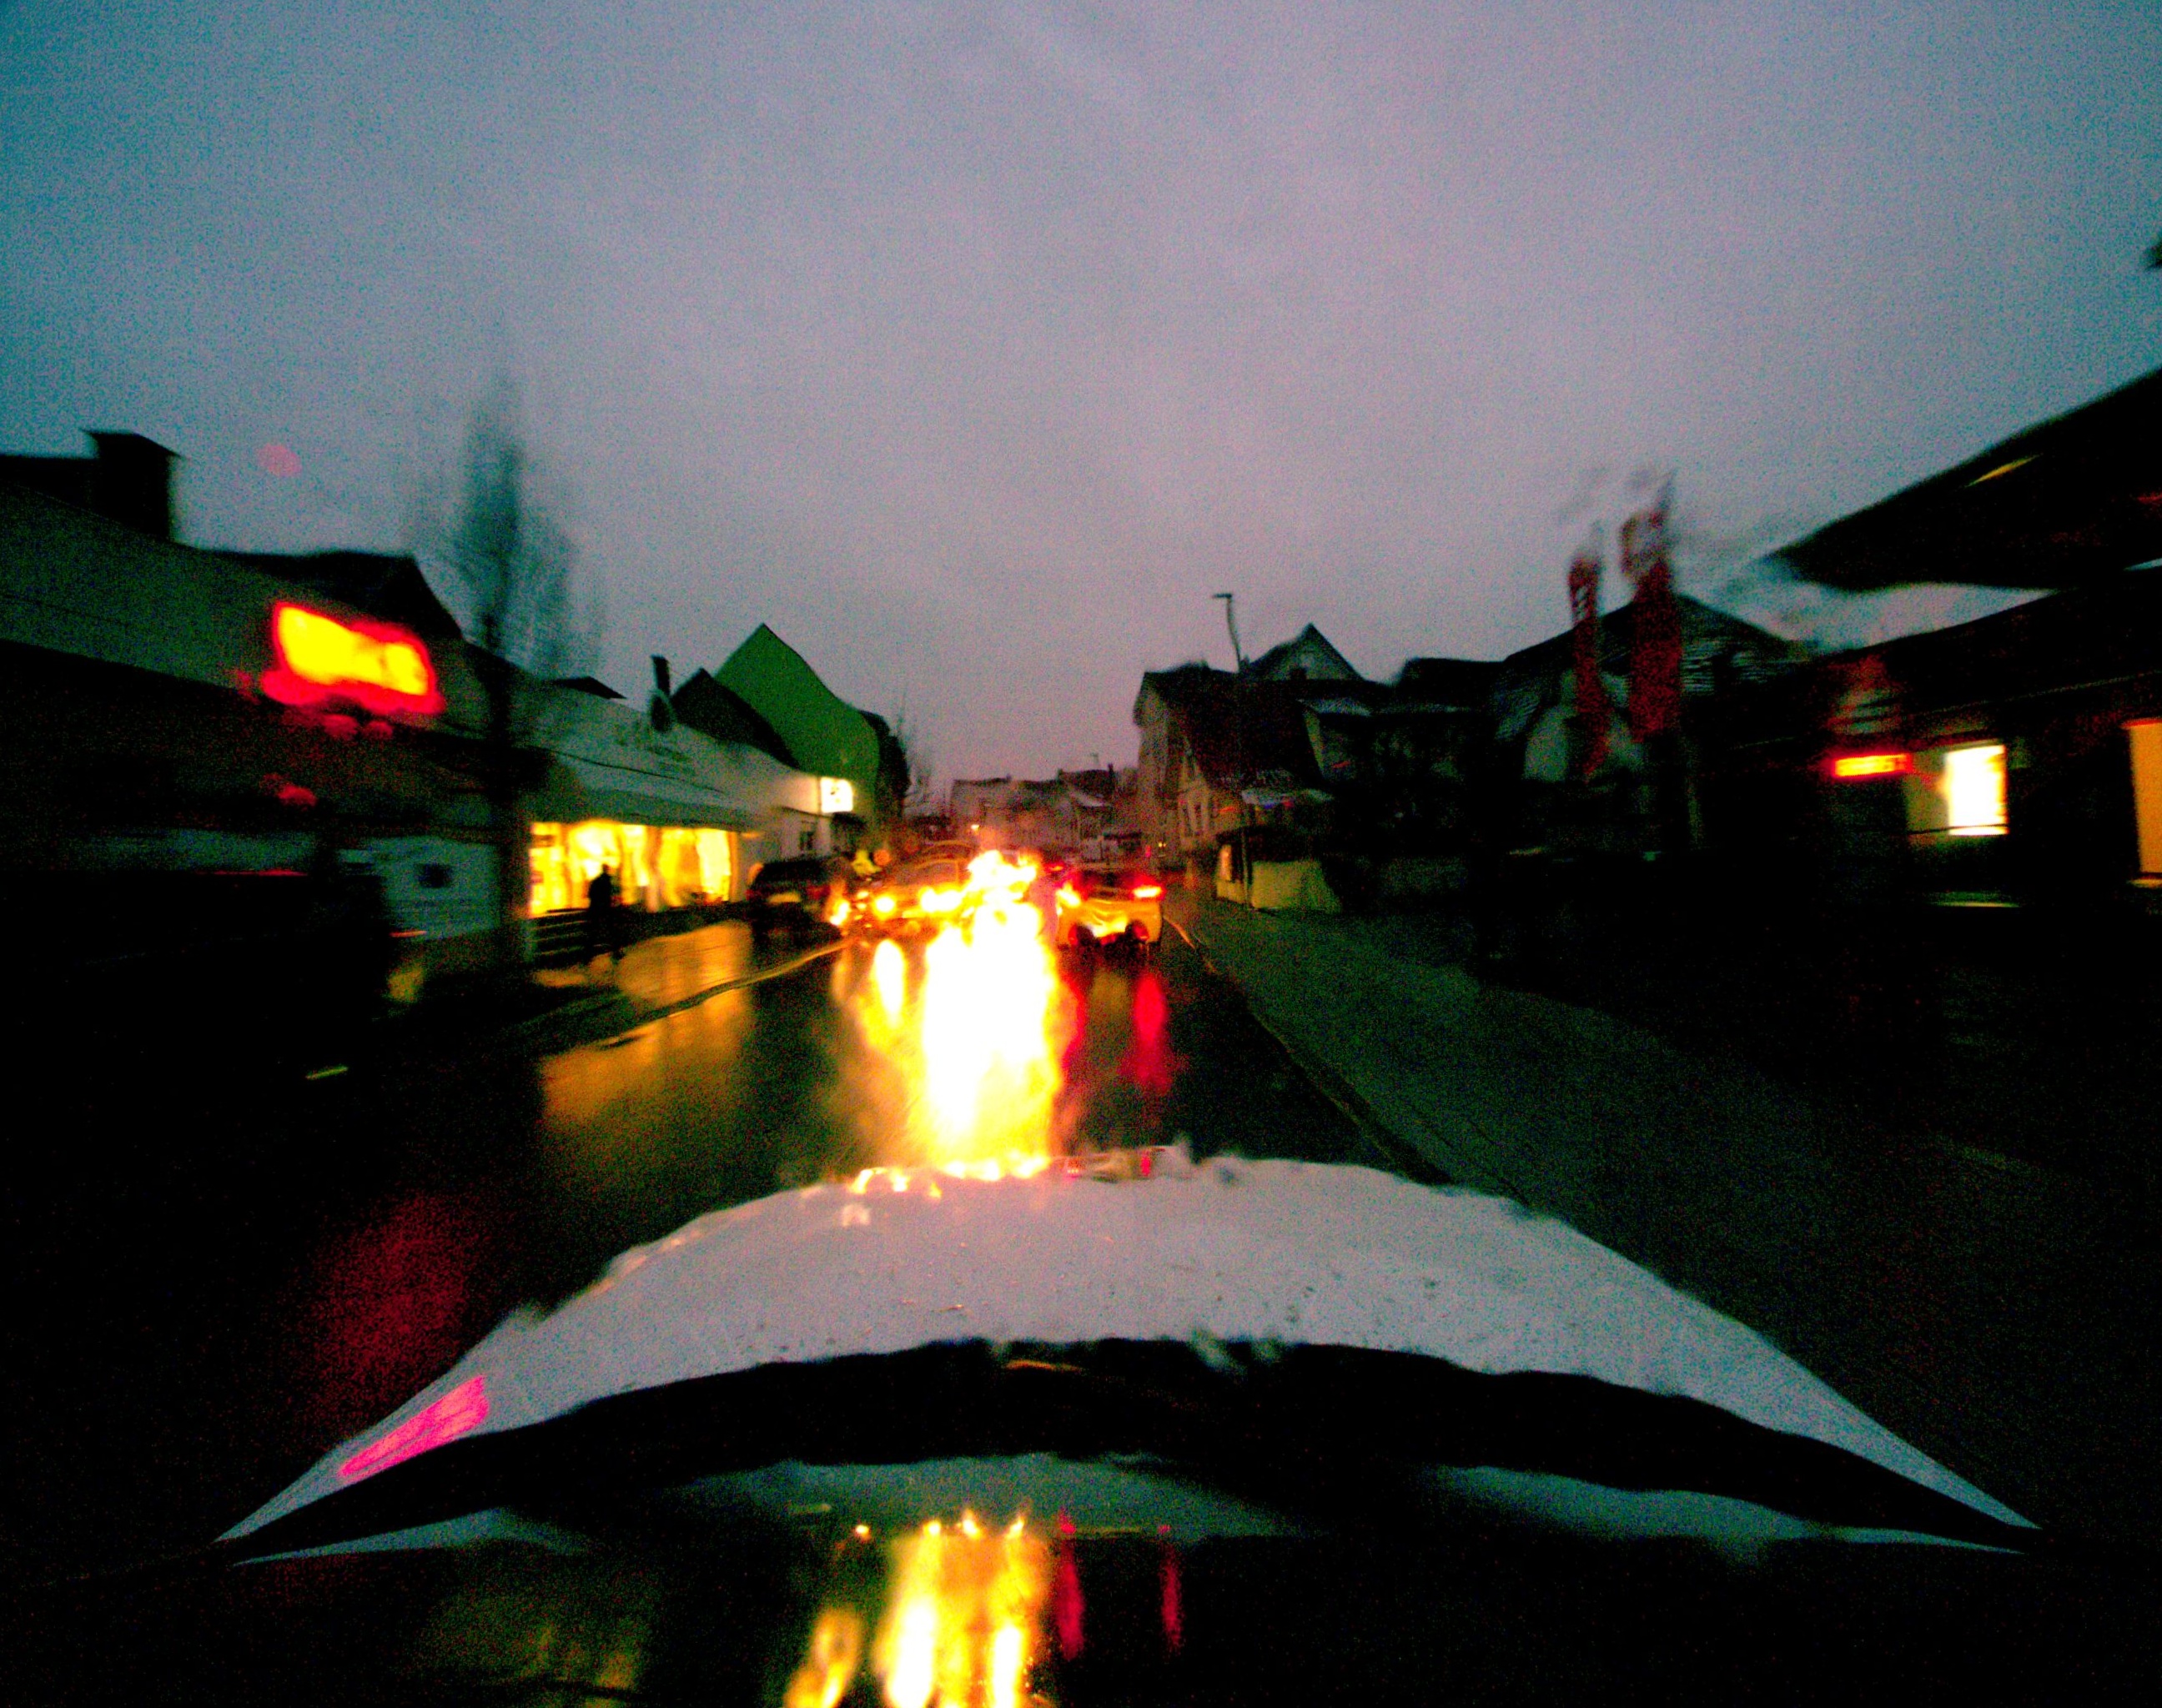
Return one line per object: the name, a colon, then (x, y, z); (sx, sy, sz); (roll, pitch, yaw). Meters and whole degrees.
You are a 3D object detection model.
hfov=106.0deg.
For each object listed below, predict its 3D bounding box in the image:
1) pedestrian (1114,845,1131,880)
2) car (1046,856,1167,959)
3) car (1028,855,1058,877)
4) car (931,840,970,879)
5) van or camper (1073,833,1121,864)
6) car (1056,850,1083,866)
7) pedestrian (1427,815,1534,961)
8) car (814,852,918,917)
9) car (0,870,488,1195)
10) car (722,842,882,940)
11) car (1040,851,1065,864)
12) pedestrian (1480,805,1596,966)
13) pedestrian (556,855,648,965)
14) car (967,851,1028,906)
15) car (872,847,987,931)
pedestrian: (2.130, 0.421, 41.796); (0.743, 1.729, 0.872); (-2, 1, -4)
car: (0.339, 0.813, 14.213); (1.809, 1.533, 3.997); (-1, 0, -2)
car: (-2.809, 0.860, 59.847); (1.991, 1.588, 3.991); (0, 0, -6)
car: (-9.052, 0.432, 57.057); (2.483, 2.560, 6.744); (0, -1, -7)
van or camper: (1.759, -0.563, 90.787); (2.663, 3.047, 6.682); (-5, 1, -23)
car: (-1.311, 0.482, 89.946); (1.997, 1.610, 4.153); (-4, -1, -15)
pedestrian: (4.964, 0.410, 10.175); (0.834, 1.705, 0.845); (-3, -1, 0)
car: (-6.189, 0.819, 24.028); (1.875, 1.710, 4.710); (-1, 0, -1)
car: (-6.228, 0.914, 4.661); (1.987, 1.522, 4.977); (-1, 0, 0)
car: (-5.867, 0.683, 17.850); (2.082, 1.792, 5.016); (-1, 0, -4)
car: (-3.559, 0.390, 101.685); (1.829, 1.462, 4.519); (-3, 1, -19)
pedestrian: (5.131, 0.337, 9.205); (0.702, 1.705, 0.914); (-2, -1, -4)
pedestrian: (-8.468, 0.961, 14.430); (1.003, 1.876, 0.946); (-1, 0, 11)
car: (-2.929, 0.819, 29.519); (1.948, 1.546, 4.411); (-3, 3, -4)
car: (-3.487, 0.712, 19.673); (1.988, 1.705, 4.963); (1, 1, -2)
